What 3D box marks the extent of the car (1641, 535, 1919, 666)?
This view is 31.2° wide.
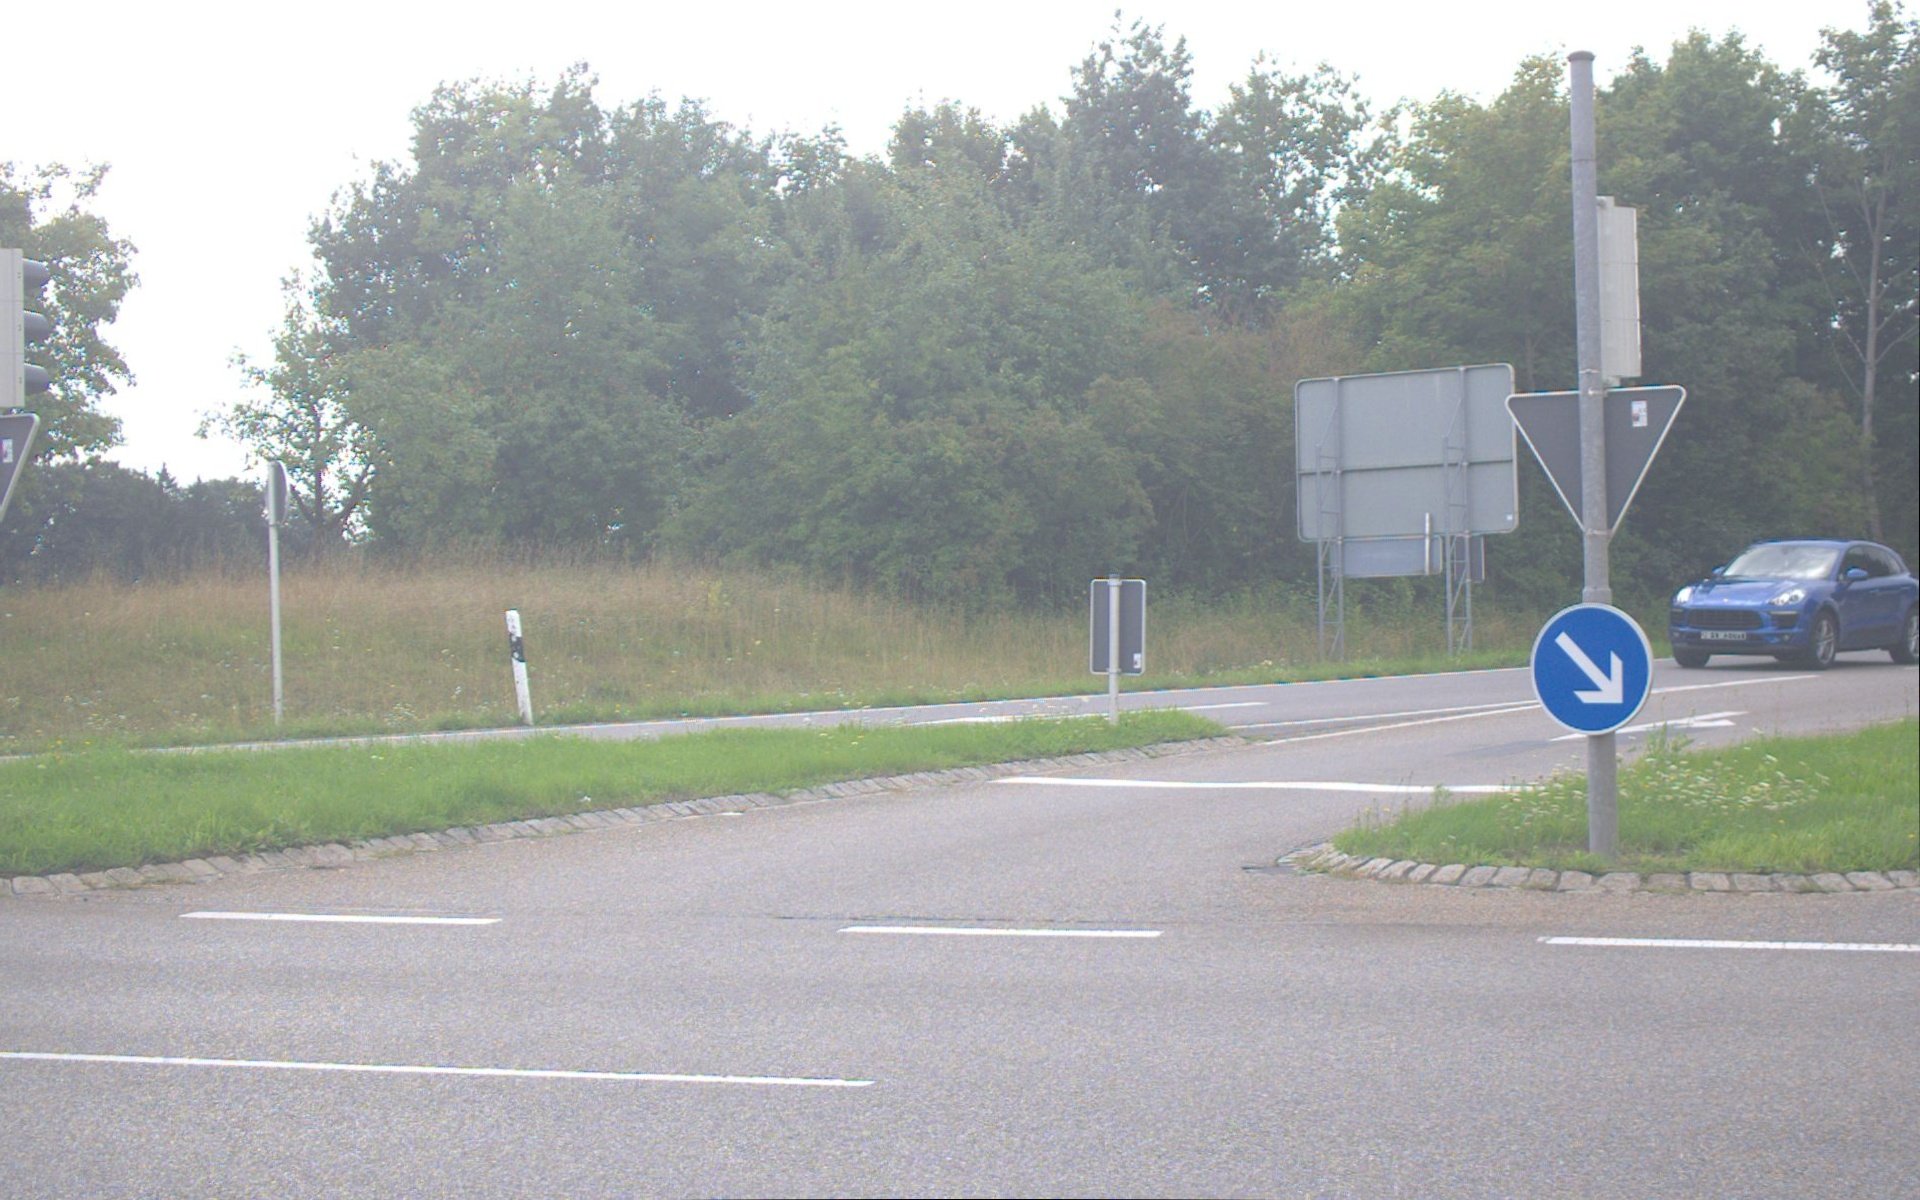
[{"bbox_3d":[10.650,-0.017,43.483,1.998,1.565,4.745,0,0,39],"label":"car"}]
